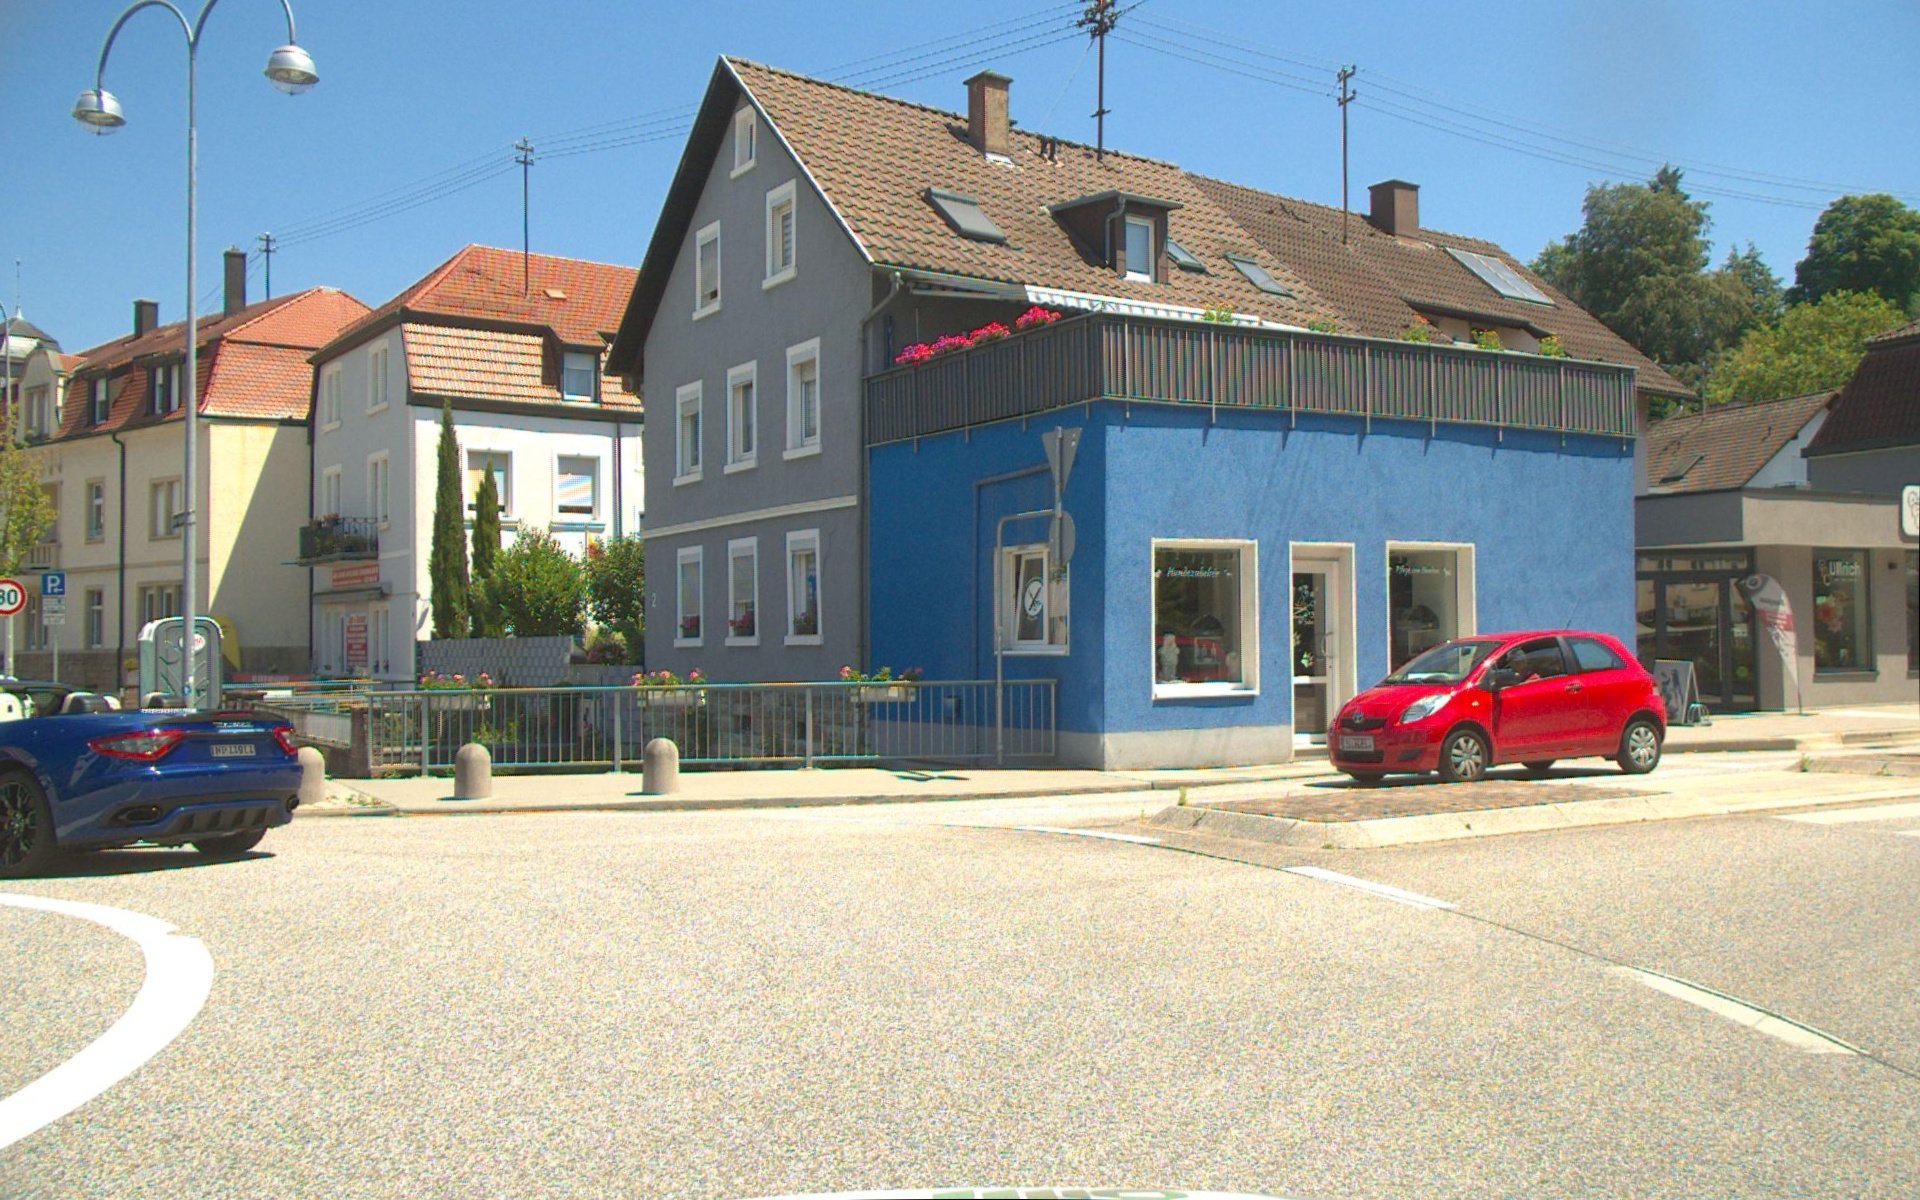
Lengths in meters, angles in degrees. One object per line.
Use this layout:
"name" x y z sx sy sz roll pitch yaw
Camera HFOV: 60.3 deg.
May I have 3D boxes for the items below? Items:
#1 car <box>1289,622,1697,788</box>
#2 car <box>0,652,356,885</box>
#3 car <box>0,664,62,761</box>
"car" 5.663 1.069 17.576 3.937 1.560 1.819 0 -3 -26
"car" -6.820 1.148 11.925 4.518 1.423 1.982 -2 -3 23
"car" -18.438 2.112 30.730 1.985 1.611 4.218 -6 2 -43
